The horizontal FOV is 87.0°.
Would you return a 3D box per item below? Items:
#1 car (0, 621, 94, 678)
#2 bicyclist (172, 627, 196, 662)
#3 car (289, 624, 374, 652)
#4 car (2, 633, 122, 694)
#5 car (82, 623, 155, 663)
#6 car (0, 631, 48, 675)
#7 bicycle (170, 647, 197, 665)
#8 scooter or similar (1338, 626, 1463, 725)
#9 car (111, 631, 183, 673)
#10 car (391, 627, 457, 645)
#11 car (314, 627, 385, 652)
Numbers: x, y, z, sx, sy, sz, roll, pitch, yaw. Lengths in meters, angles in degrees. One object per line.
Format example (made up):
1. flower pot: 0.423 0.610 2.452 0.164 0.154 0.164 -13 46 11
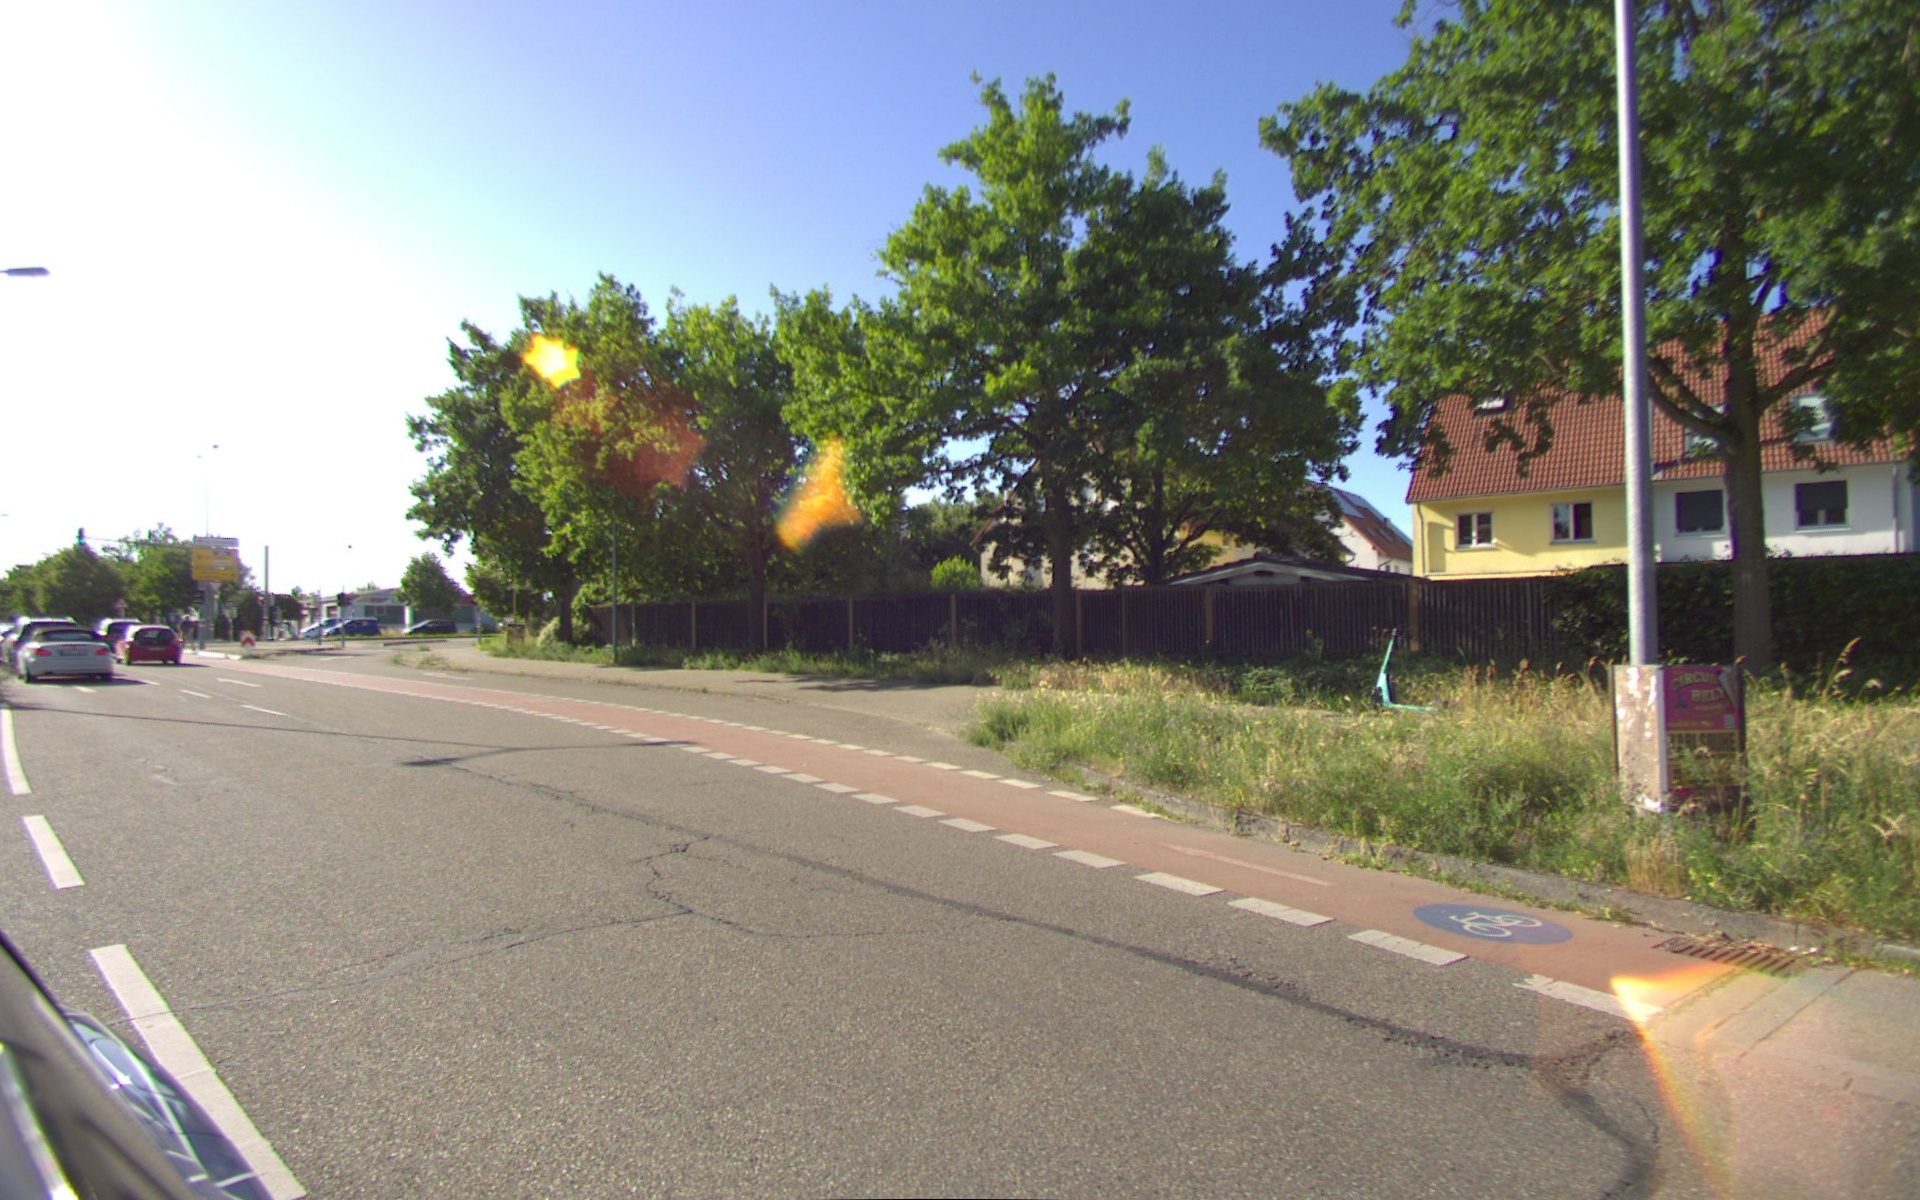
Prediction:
1. car: -28.487 1.505 31.412 4.530 1.628 1.971 -2 -2 43
2. bicyclist: -38.547 2.192 50.252 1.242 1.715 0.736 -2 -2 43
3. car: -48.407 2.912 77.972 2.046 2.029 5.206 -5 -4 39
4. car: -23.807 1.626 26.772 4.399 1.461 1.971 -2 -2 43
5. car: -37.191 1.876 44.680 4.531 1.656 1.971 -2 -3 44
6. car: -33.826 1.878 36.042 3.889 1.494 1.727 -2 -3 44
7. bicycle: -38.575 2.764 50.243 1.990 0.854 0.740 -2 -2 43
8. scooter or similar: 5.908 0.992 13.633 0.532 1.228 1.417 -2 -1 -34
9. car: -30.413 1.918 37.825 3.714 1.494 1.627 -2 -3 44
10. car: -40.563 2.715 76.653 1.891 1.284 3.986 -5 -4 39
11. car: -43.691 2.826 72.472 1.891 1.657 3.986 -5 -4 39
